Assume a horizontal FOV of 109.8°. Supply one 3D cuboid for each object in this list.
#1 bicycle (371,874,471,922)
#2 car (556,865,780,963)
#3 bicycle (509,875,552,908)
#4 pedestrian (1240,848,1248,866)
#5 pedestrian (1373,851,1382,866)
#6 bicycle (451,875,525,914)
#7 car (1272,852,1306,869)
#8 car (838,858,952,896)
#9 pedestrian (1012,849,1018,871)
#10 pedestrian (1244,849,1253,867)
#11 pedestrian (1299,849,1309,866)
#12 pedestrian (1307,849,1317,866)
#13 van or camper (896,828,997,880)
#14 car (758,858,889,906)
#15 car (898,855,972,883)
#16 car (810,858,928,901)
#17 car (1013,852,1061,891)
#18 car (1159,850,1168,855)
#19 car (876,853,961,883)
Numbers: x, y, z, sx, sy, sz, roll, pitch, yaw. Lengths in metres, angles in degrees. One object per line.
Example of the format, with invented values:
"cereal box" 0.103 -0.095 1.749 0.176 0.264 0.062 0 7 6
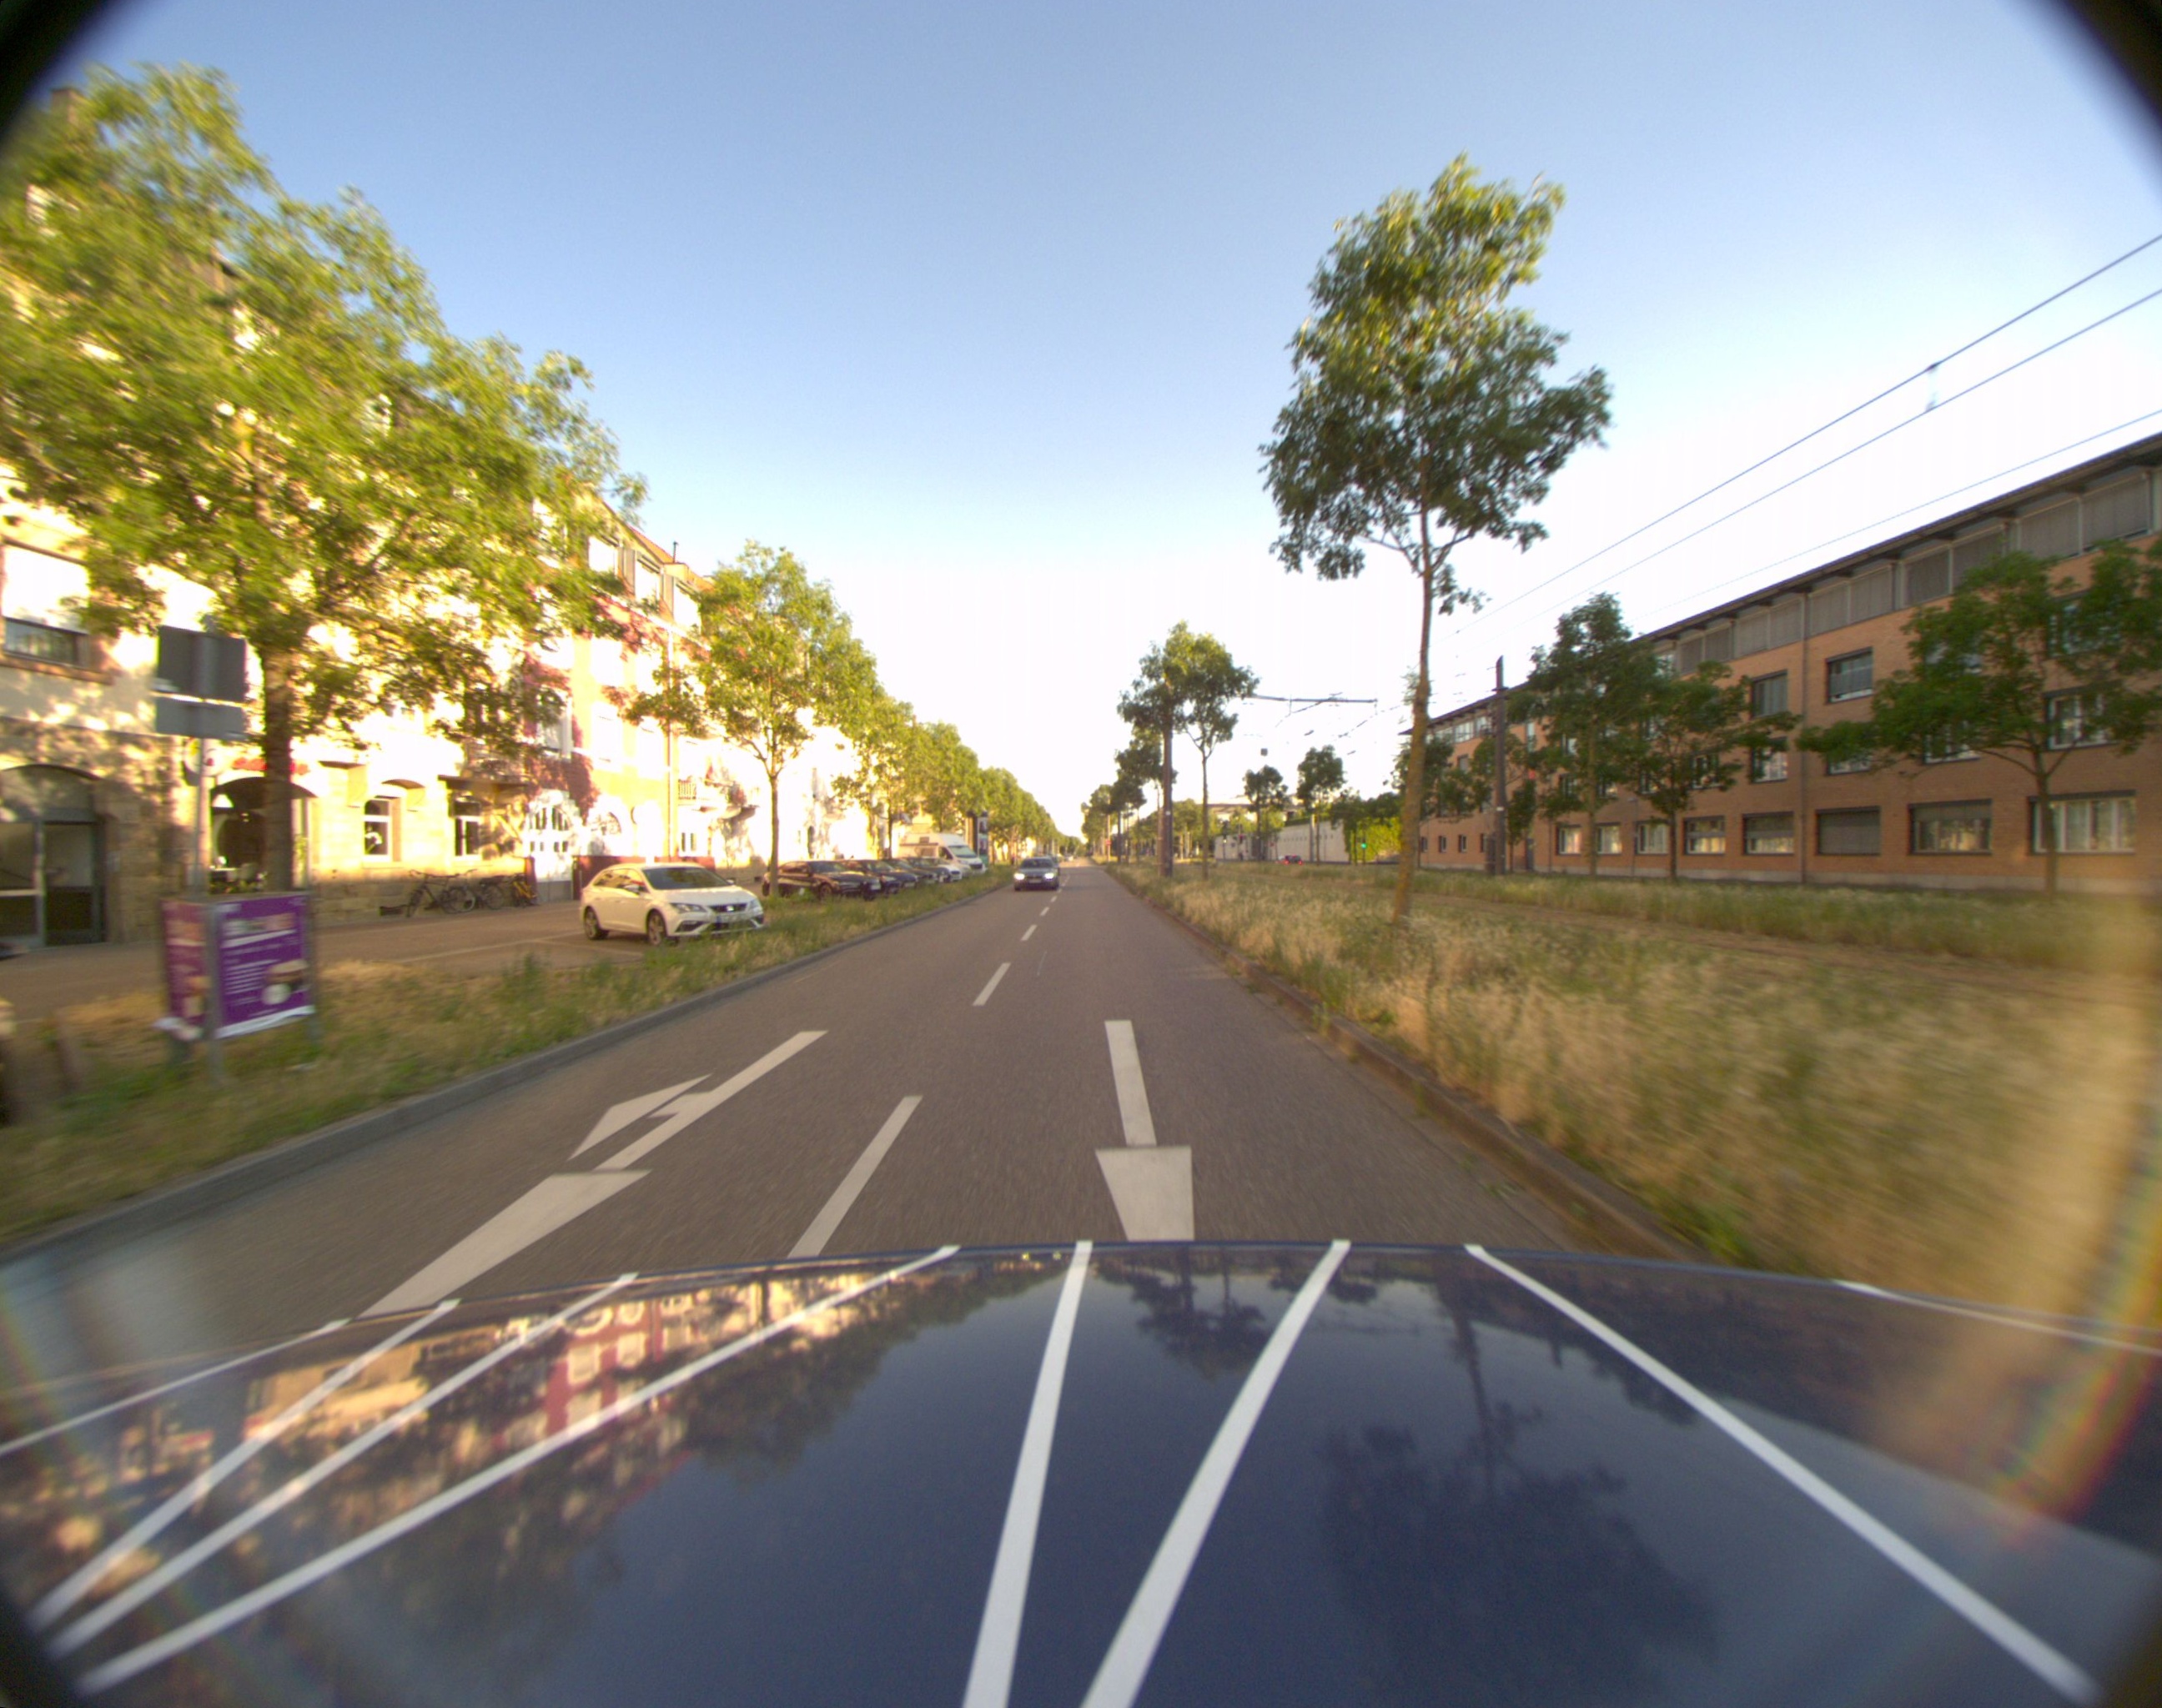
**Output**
"bicycle" -16.658 1.087 19.265 0.589 1.072 2.228 1 0 0
"car" -7.807 0.990 14.208 4.633 1.501 1.851 0 1 36
"bicycle" -16.812 1.142 23.243 0.419 0.956 1.218 0 0 0
"pedestrian" 15.364 0.318 71.676 0.515 1.675 0.548 -1 0 -30
"pedestrian" 27.088 0.427 69.470 0.587 1.359 0.575 -1 1 -6
"bicycle" -16.651 1.127 21.396 0.580 0.985 1.928 0 0 0
"car" 17.840 0.535 65.325 1.794 1.368 4.000 0 0 0
"car" -7.538 0.911 30.643 4.424 1.415 1.926 -1 0 33
"pedestrian" -6.122 0.582 70.793 0.514 2.002 0.599 0 1 0
"pedestrian" 15.584 0.356 70.720 0.515 1.675 0.548 -1 1 -30
"pedestrian" 26.543 0.445 90.376 0.730 2.002 0.867 -1 1 -14
"pedestrian" 27.156 0.428 89.308 0.731 2.002 0.866 -2 1 -20
"van or camper" -7.777 -0.008 43.658 5.635 2.796 2.208 0 1 32
"car" -8.498 0.889 24.953 4.424 1.408 1.889 -1 0 37
"car" -7.797 0.757 40.451 3.912 1.395 1.799 0 1 39
"car" -7.711 0.887 27.630 4.042 1.429 1.730 -1 1 29
"car" -2.013 0.753 34.478 1.999 1.655 3.998 0 0 -4
"car" 21.736 -0.404 200.396 1.794 1.368 3.999 0 0 0
"car" -8.066 0.650 37.541 4.264 1.395 1.799 0 1 38
